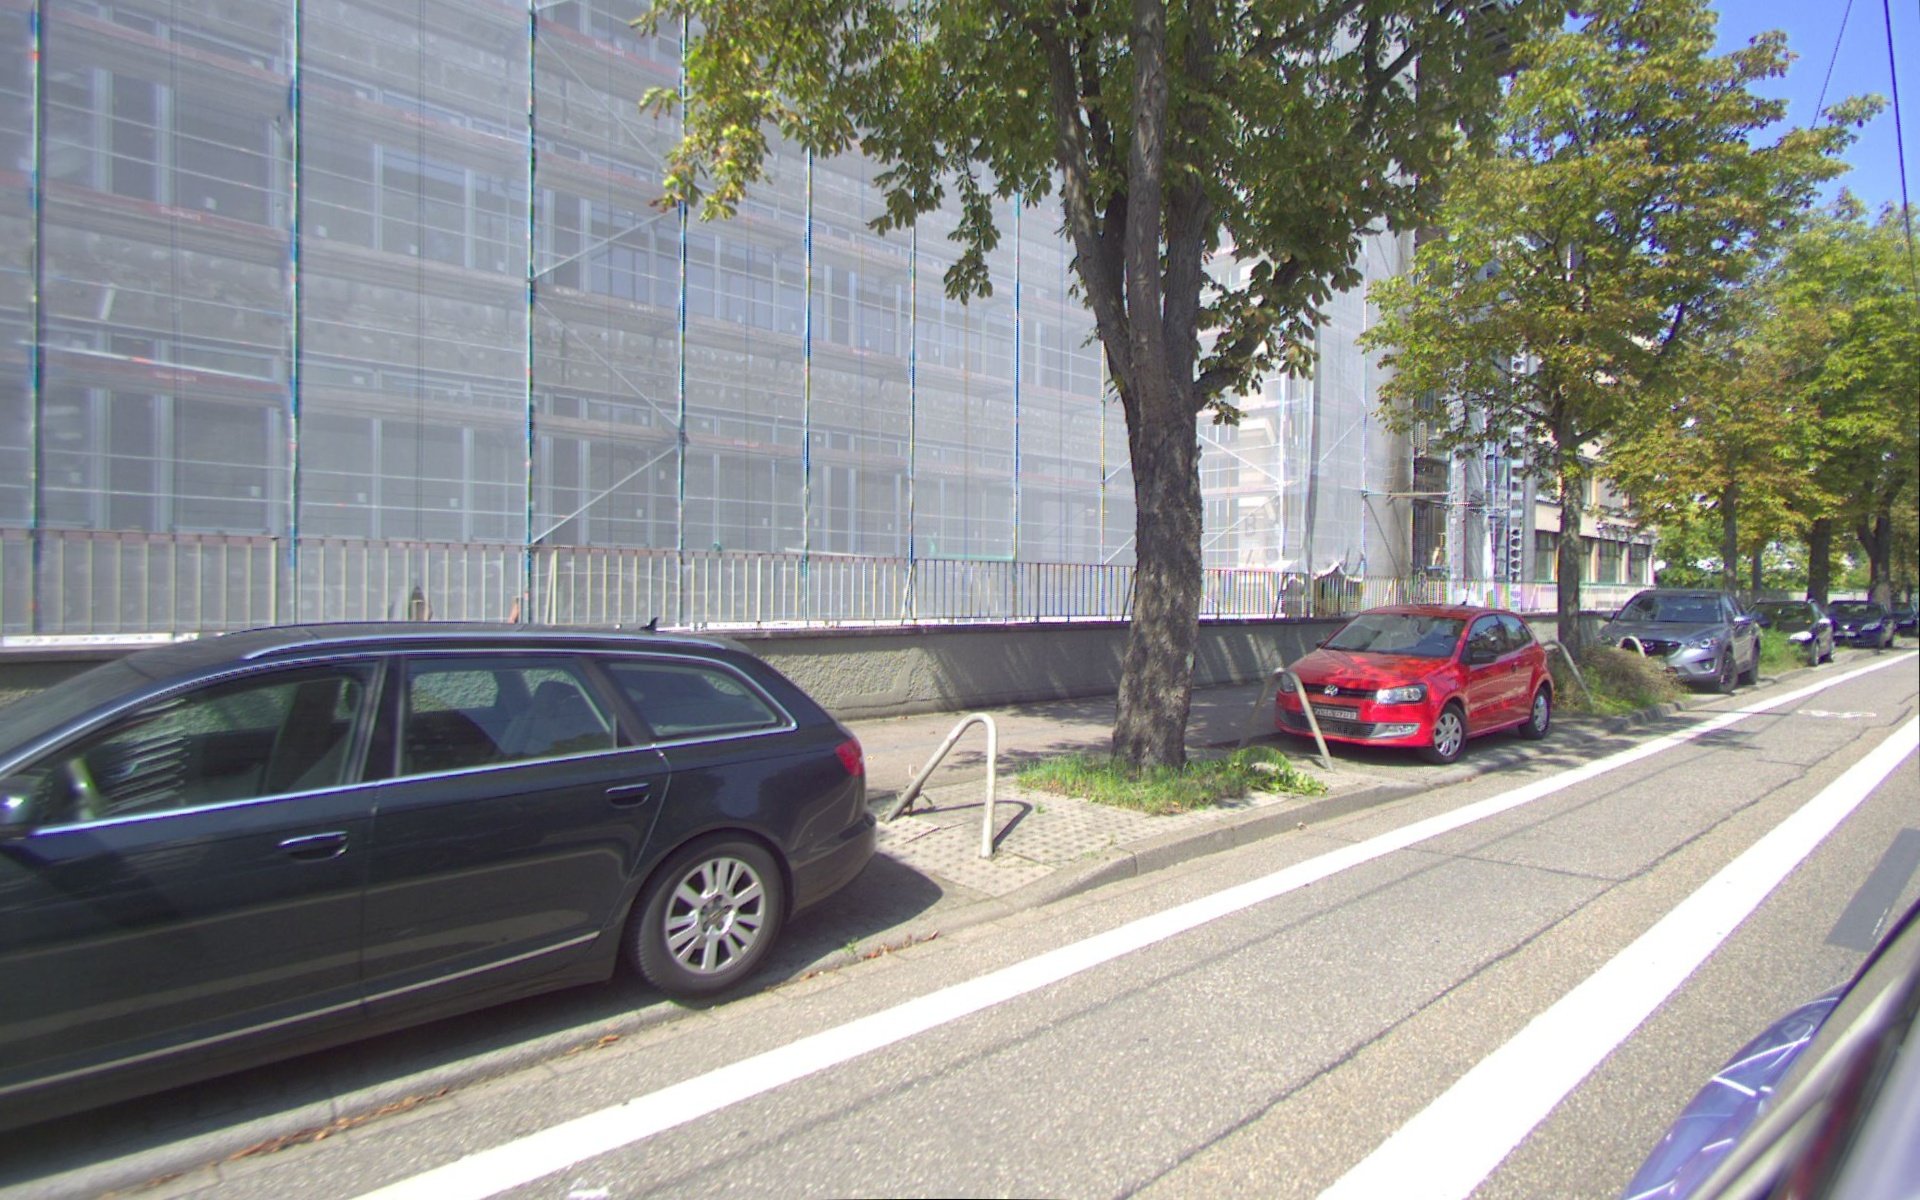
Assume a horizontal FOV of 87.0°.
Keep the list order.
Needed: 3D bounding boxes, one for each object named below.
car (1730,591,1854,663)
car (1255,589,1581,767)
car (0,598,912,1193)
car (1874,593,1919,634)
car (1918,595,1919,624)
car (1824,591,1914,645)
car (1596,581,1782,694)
[{"bbox_3d":[20.024,0.598,24.302,3.930,1.590,1.688,0,0,-41],"label":"car"},{"bbox_3d":[4.955,0.650,10.680,4.062,1.519,1.687,-1,1,-42],"label":"car"},{"bbox_3d":[-2.526,0.744,3.552,4.720,1.458,1.688,-1,1,-42],"label":"car"},{"bbox_3d":[37.814,0.510,40.335,3.926,1.491,1.641,0,3,-43],"label":"car"},{"bbox_3d":[51.681,0.500,53.154,3.810,1.492,1.641,0,0,-41],"label":"car"},{"bbox_3d":[29.380,0.566,32.691,4.011,1.590,1.644,1,1,-41],"label":"car"},{"bbox_3d":[12.695,0.561,17.497,4.570,1.710,1.764,0,0,-43],"label":"car"}]
